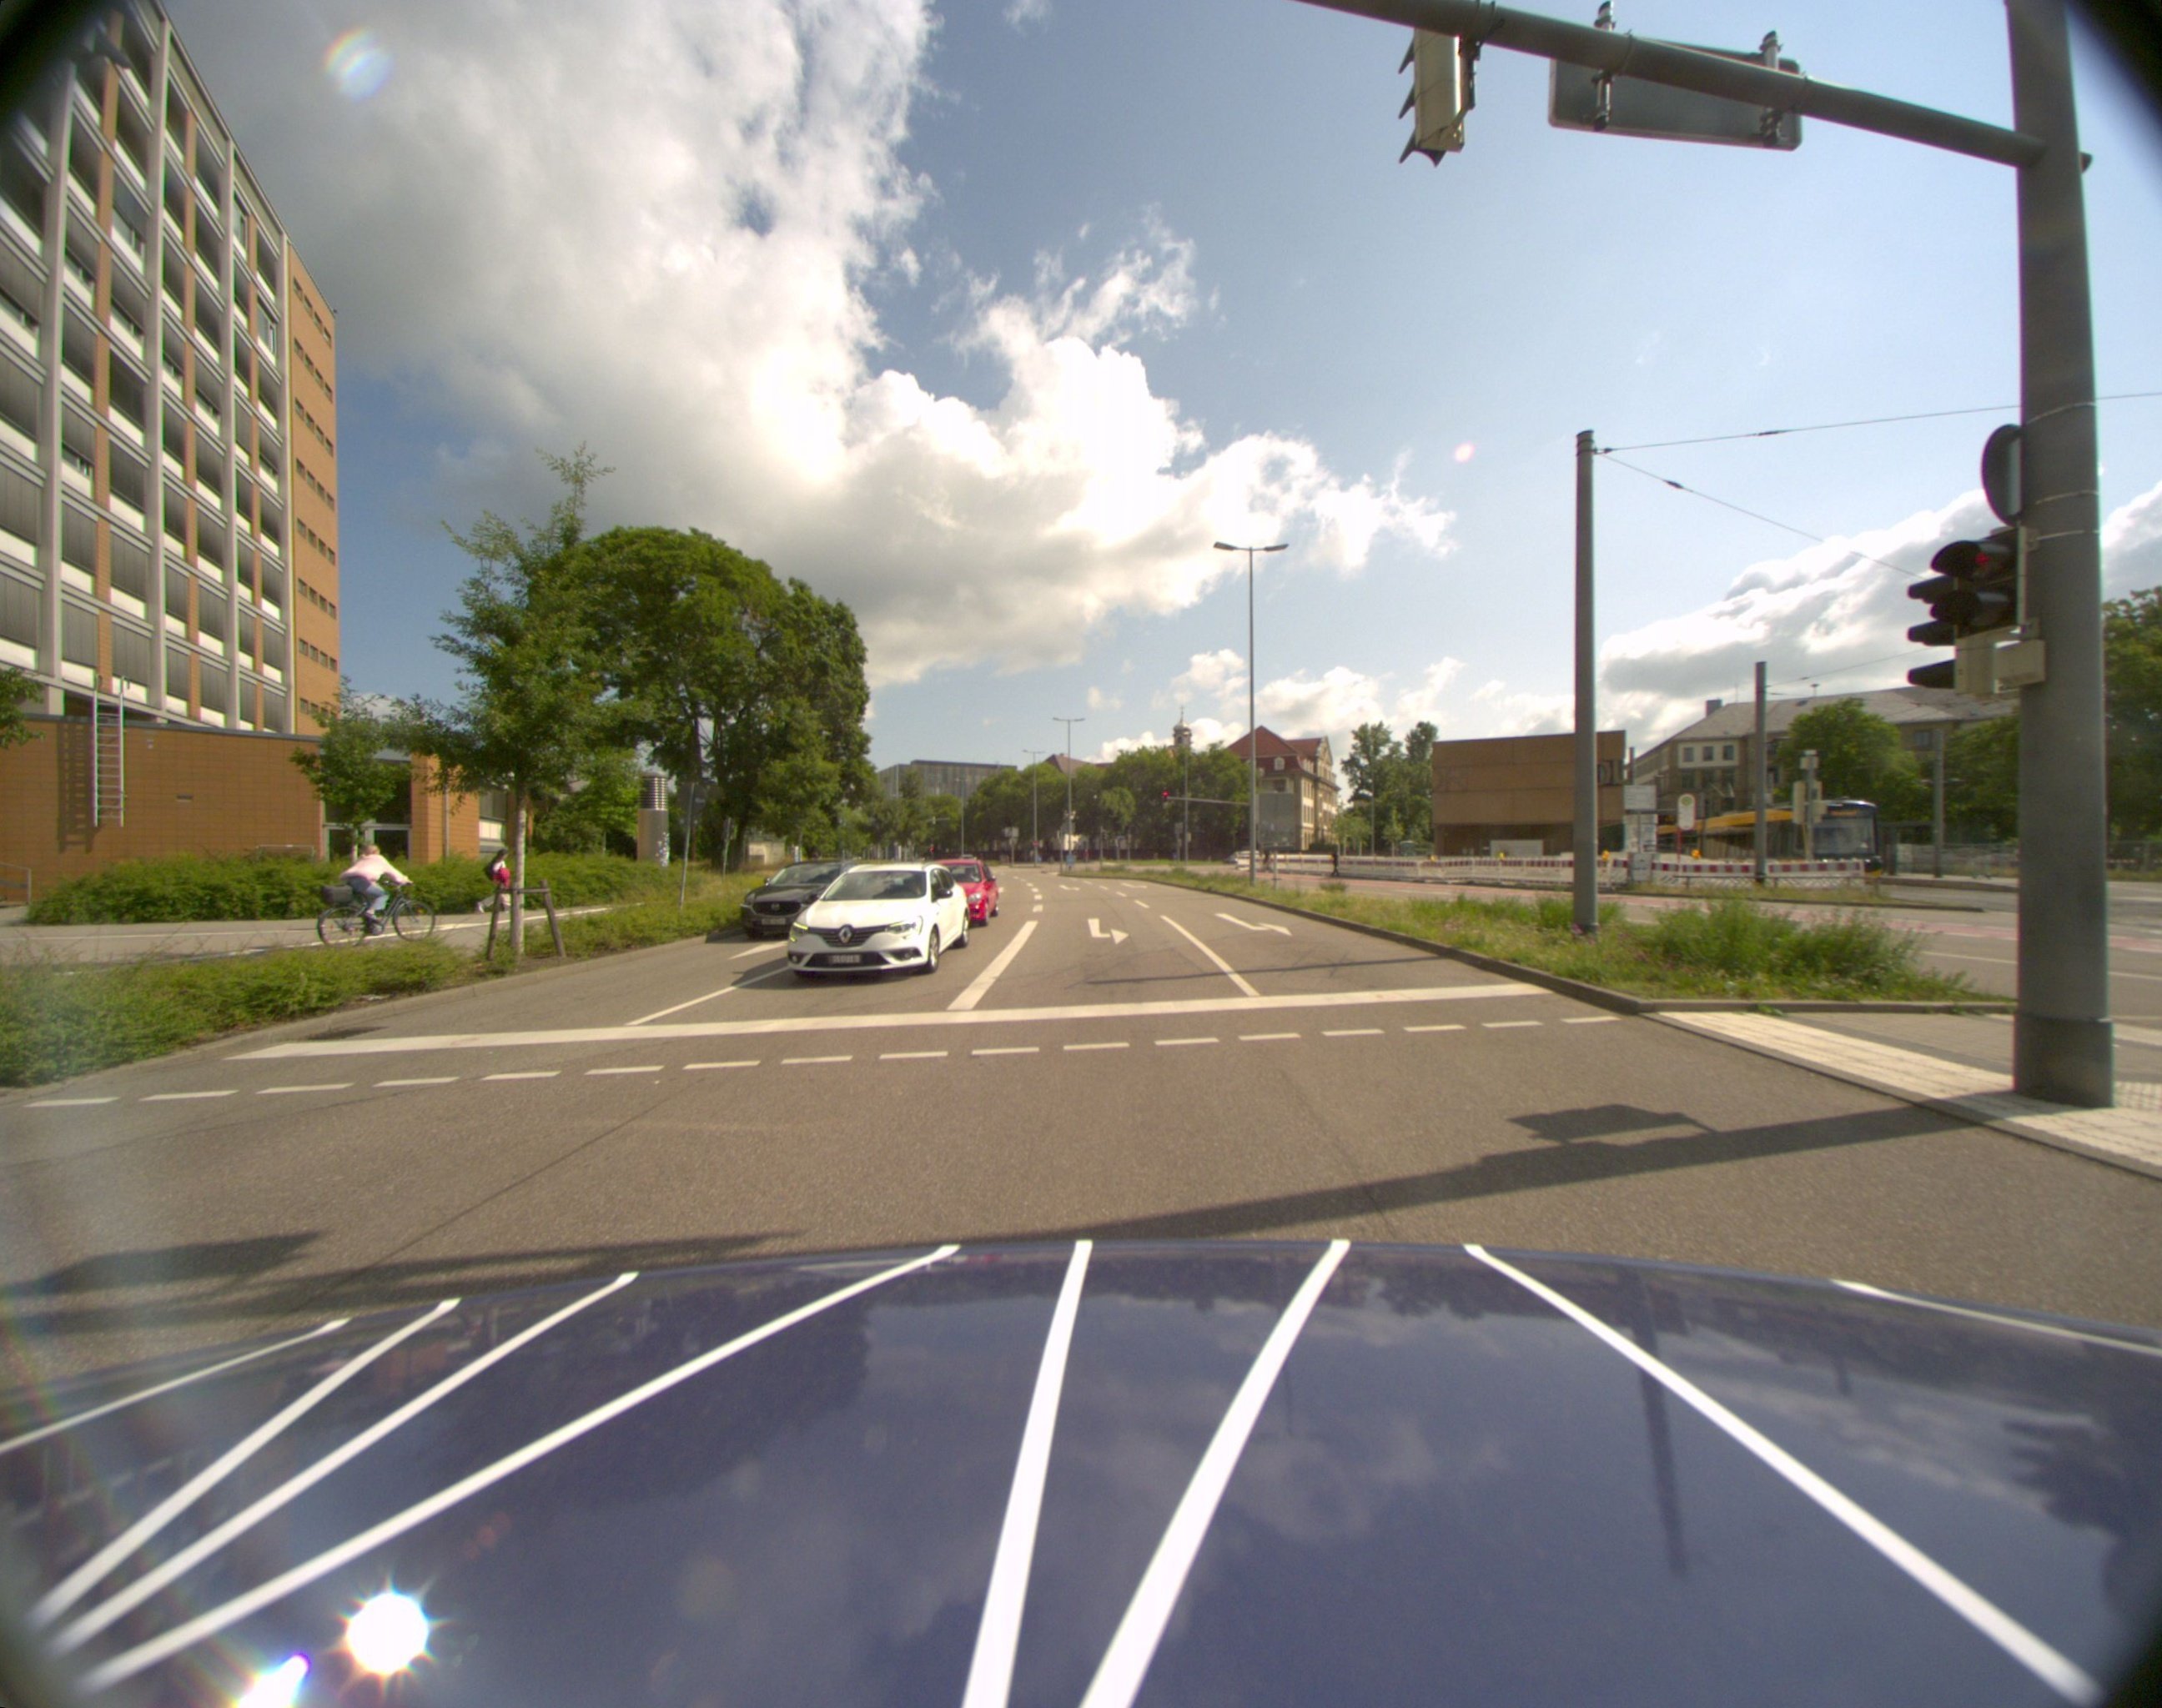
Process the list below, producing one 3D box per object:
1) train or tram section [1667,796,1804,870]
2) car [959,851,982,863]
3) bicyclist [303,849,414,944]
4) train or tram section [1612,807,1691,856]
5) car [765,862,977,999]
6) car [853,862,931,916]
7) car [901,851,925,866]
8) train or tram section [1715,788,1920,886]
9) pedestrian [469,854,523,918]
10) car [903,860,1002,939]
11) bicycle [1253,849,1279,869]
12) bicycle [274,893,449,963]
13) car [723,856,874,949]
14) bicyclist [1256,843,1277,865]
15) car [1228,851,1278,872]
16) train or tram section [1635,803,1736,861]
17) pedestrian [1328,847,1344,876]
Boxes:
[{"bbox_3d":[35.392,-1.152,41.674,3.316,3.461,10.625,-1,1,27],"label":"train or tram section"},{"bbox_3d":[-13.894,0.381,95.397,1.834,1.516,3.991,-1,0,-26],"label":"car"},{"bbox_3d":[-11.589,0.655,12.228,0.635,1.449,1.170,0,1,1],"label":"bicyclist"},{"bbox_3d":[45.184,-1.823,60.535,3.316,3.461,10.625,-1,1,27],"label":"train or tram section"},{"bbox_3d":[-2.798,0.933,11.327,1.762,1.421,4.674,-2,1,1],"label":"car"},{"bbox_3d":[-5.813,1.029,23.809,1.587,1.377,4.076,-2,1,-3],"label":"car"},{"bbox_3d":[-20.409,0.537,92.320,2.002,1.745,3.991,-3,1,-25],"label":"car"},{"bbox_3d":[30.456,-0.732,32.188,3.316,3.461,10.625,-1,1,27],"label":"train or tram section"},{"bbox_3d":[-14.752,0.778,19.173,0.767,1.569,0.959,0,1,44],"label":"pedestrian"},{"bbox_3d":[-2.823,0.933,17.481,1.645,1.459,4.063,-2,1,-2],"label":"car"},{"bbox_3d":[13.285,0.373,54.561,0.973,1.402,2.291,-1,0,-10],"label":"bicycle"},{"bbox_3d":[-11.552,1.151,12.335,0.652,0.892,2.275,0,0,1],"label":"bicycle"},{"bbox_3d":[-5.777,0.905,16.102,1.645,1.567,4.210,-2,1,-1],"label":"car"},{"bbox_3d":[13.295,0.014,54.568,0.778,1.554,1.774,-1,0,-11],"label":"bicyclist"},{"bbox_3d":[15.037,0.663,66.335,3.991,1.772,2.003,0,0,19],"label":"car"},{"bbox_3d":[40.295,-1.488,51.120,3.316,3.461,10.625,-1,1,27],"label":"train or tram section"},{"bbox_3d":[15.510,0.462,46.239,0.653,1.754,1.001,0,1,-1],"label":"pedestrian"}]
